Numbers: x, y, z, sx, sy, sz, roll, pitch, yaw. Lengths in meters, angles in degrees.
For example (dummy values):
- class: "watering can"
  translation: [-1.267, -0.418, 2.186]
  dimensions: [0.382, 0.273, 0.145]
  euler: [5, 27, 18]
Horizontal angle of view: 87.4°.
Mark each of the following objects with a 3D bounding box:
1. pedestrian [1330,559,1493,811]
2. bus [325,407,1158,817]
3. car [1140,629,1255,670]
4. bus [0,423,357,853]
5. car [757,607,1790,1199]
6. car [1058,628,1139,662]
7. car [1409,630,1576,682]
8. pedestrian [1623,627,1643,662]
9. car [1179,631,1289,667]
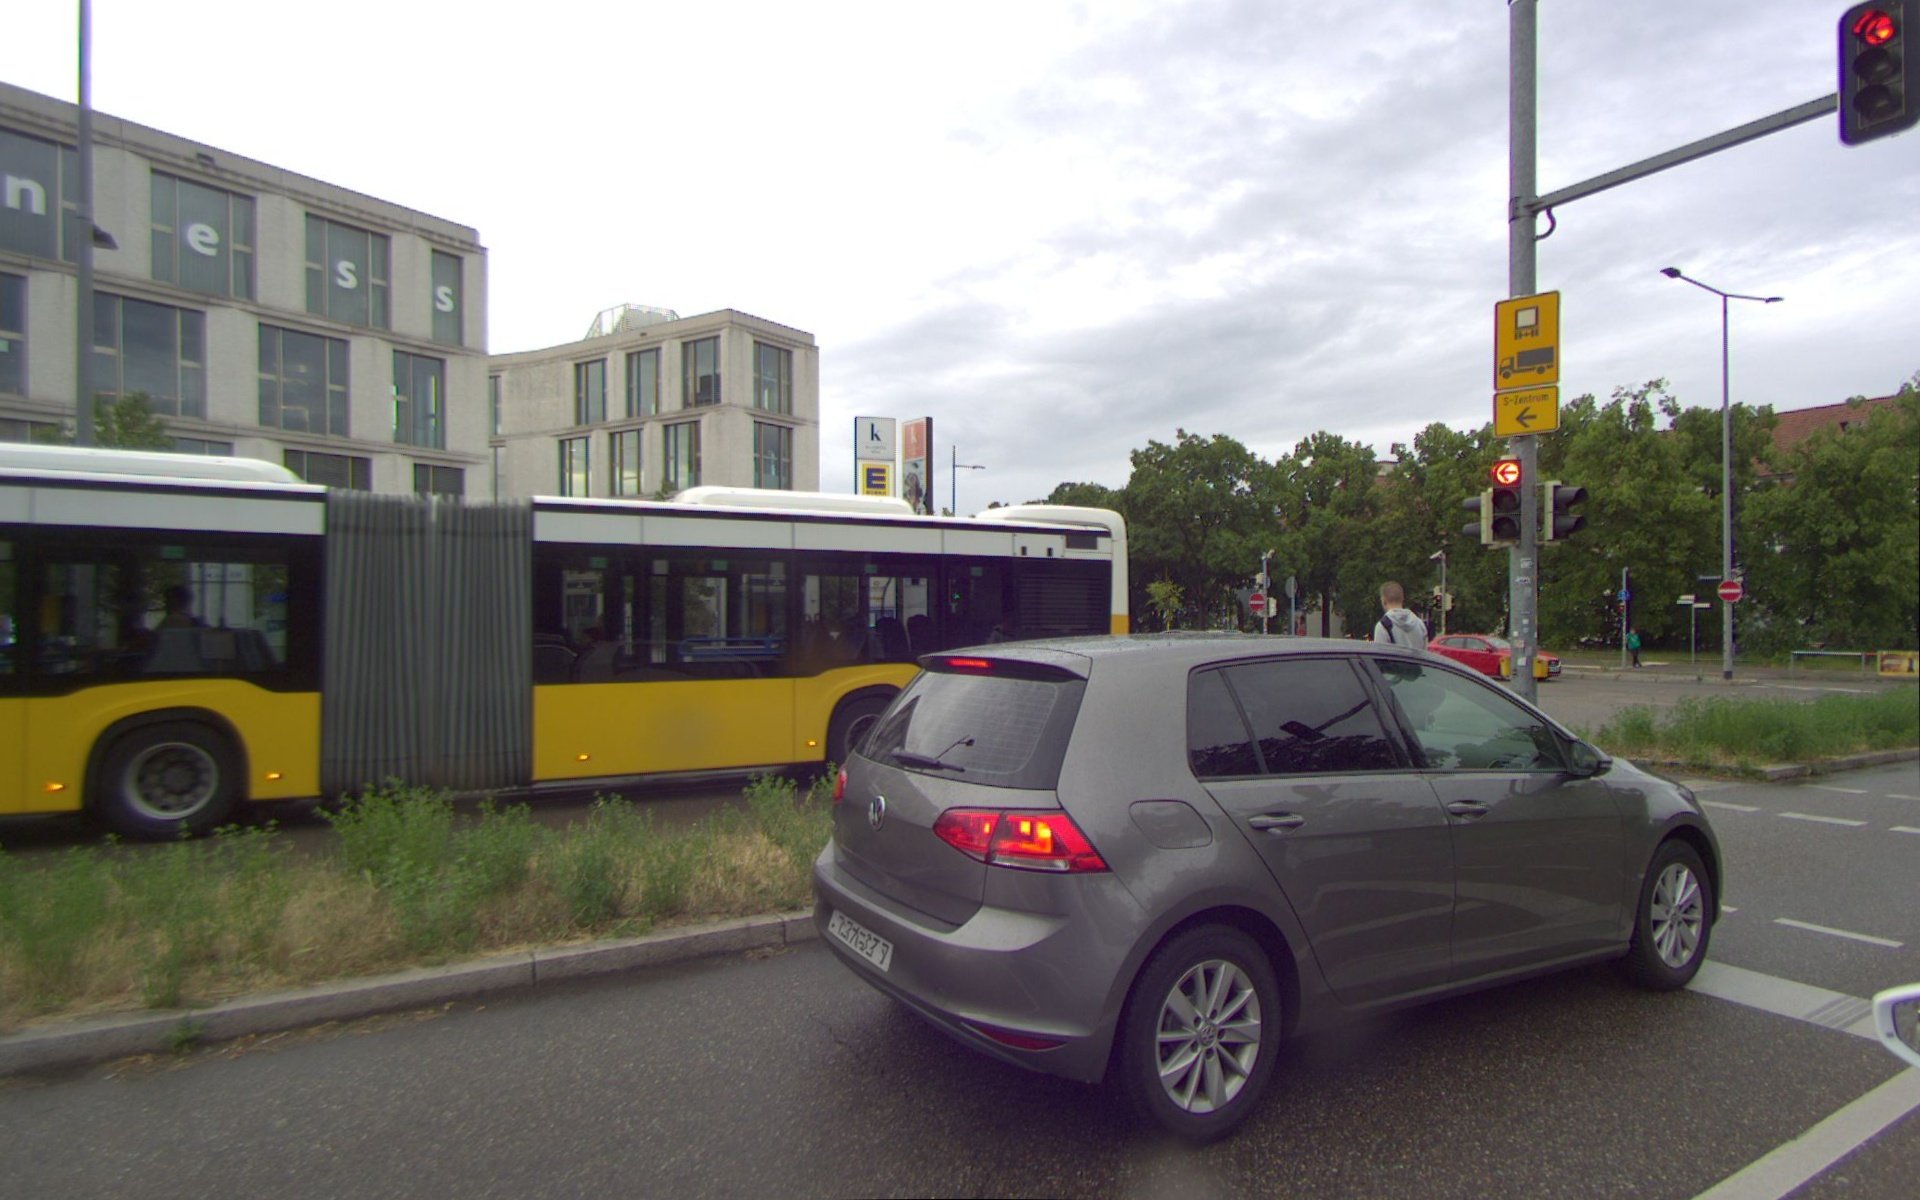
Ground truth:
- class: "pedestrian"
  translation: [3.928, 0.723, 8.789]
  dimensions: [0.835, 2.039, 0.938]
  euler: [1, -4, -25]
- class: "bus"
  translation: [-2.026, 0.213, 11.445]
  dimensions: [8.465, 3.351, 2.878]
  euler: [1, -1, -27]
- class: "car"
  translation: [9.550, 1.978, 40.710]
  dimensions: [1.978, 1.444, 4.423]
  euler: [2, -1, -31]
- class: "bus"
  translation: [-10.186, 0.233, 7.326]
  dimensions: [9.630, 3.144, 2.878]
  euler: [1, -1, -27]
- class: "car"
  translation: [1.431, 0.828, 4.213]
  dimensions: [4.147, 1.448, 1.798]
  euler: [2, -3, -30]
- class: "car"
  translation: [6.411, 2.074, 46.817]
  dimensions: [1.825, 1.444, 3.753]
  euler: [2, -1, -31]
- class: "car"
  translation: [17.170, 1.753, 32.633]
  dimensions: [1.975, 1.444, 4.509]
  euler: [1, -1, -27]
- class: "pedestrian"
  translation: [29.402, 1.923, 43.866]
  dimensions: [0.611, 1.509, 0.767]
  euler: [0, -1, 44]
- class: "car"
  translation: [11.875, 2.091, 43.790]
  dimensions: [1.978, 1.444, 4.503]
  euler: [1, -1, -31]
